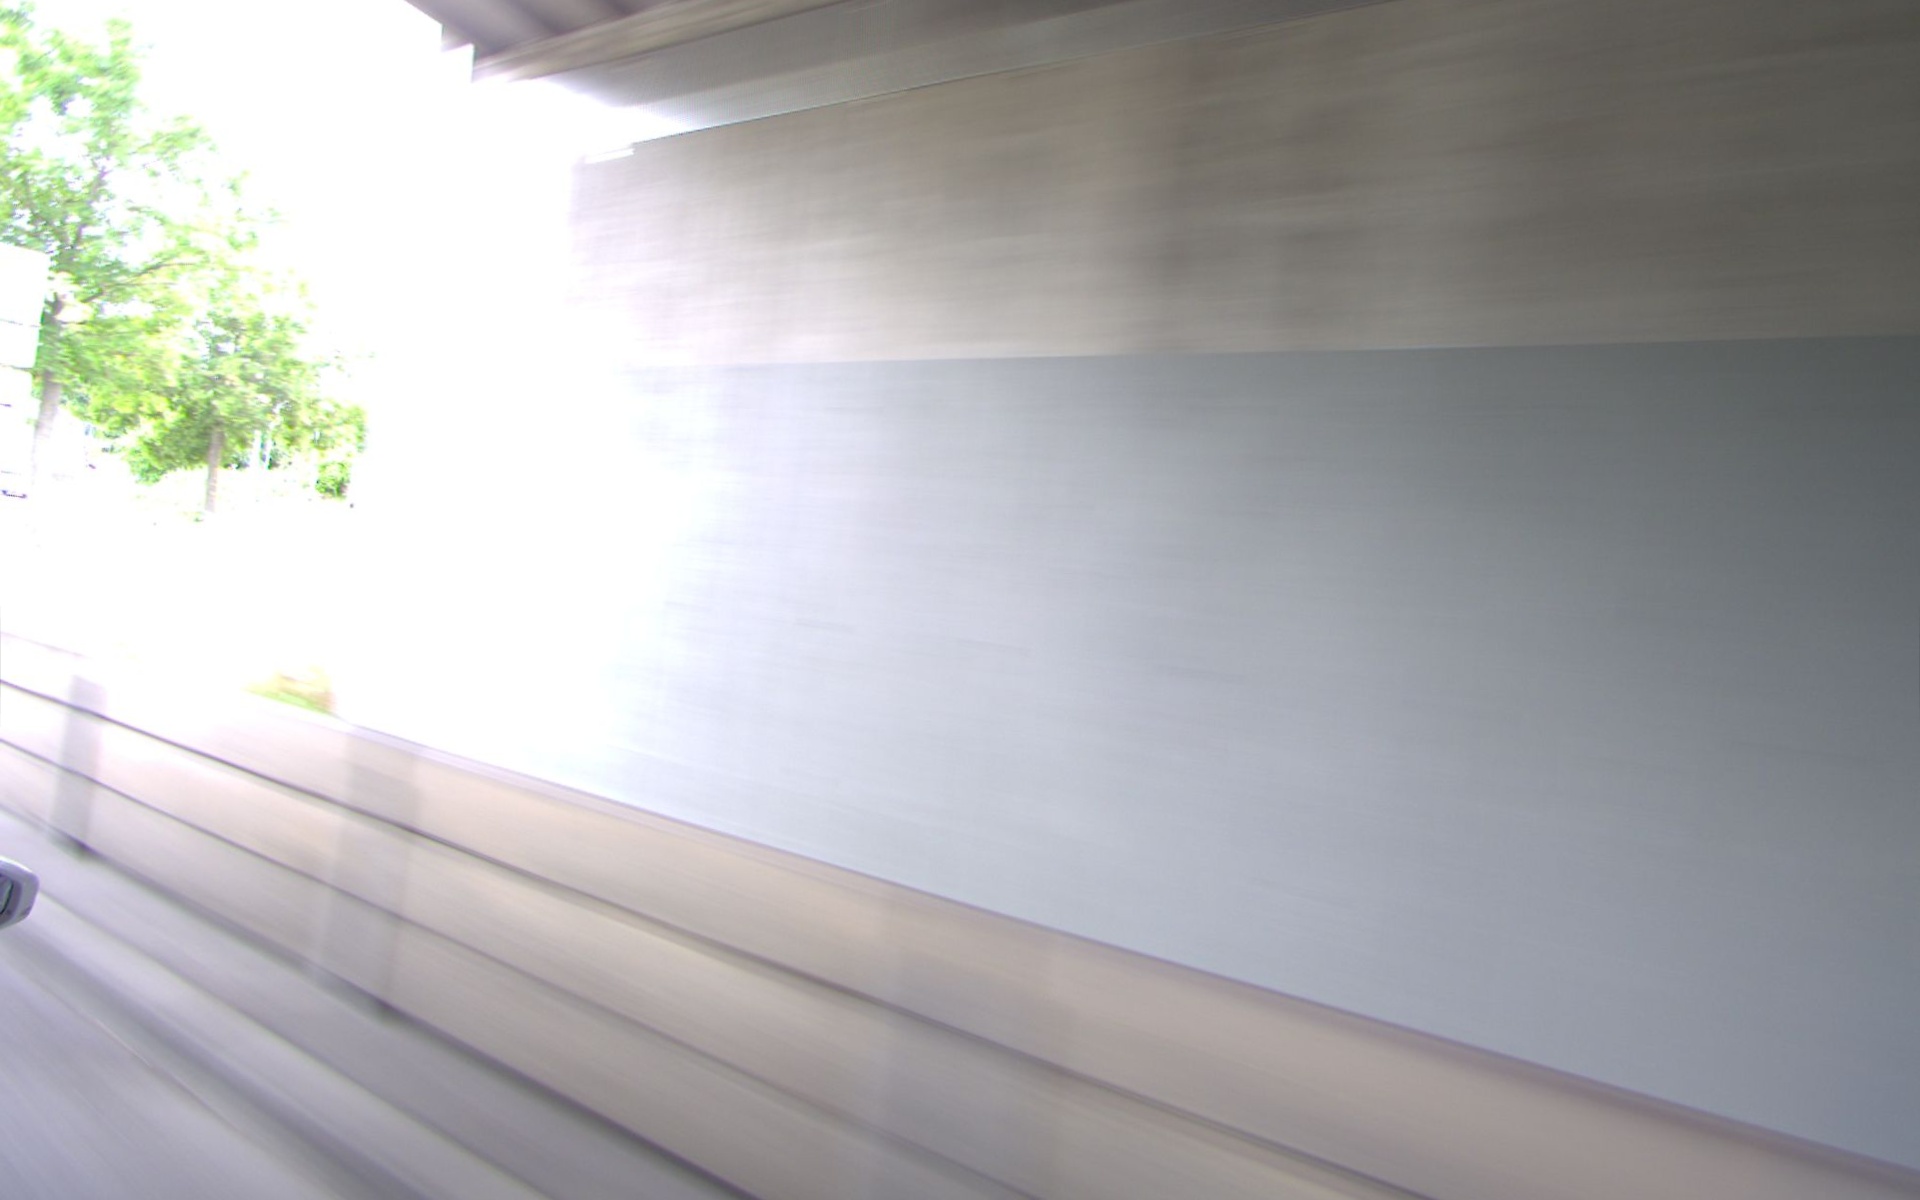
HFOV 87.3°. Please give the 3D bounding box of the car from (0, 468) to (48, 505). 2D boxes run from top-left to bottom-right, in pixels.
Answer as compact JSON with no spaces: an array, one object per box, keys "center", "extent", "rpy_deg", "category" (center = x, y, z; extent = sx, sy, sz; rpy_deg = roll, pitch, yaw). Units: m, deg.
[{"center":[-52.286,-6.310,55.711],"extent":[1.984,1.636,3.961],"rpy_deg":[9,-2,-36],"category":"car"}]
